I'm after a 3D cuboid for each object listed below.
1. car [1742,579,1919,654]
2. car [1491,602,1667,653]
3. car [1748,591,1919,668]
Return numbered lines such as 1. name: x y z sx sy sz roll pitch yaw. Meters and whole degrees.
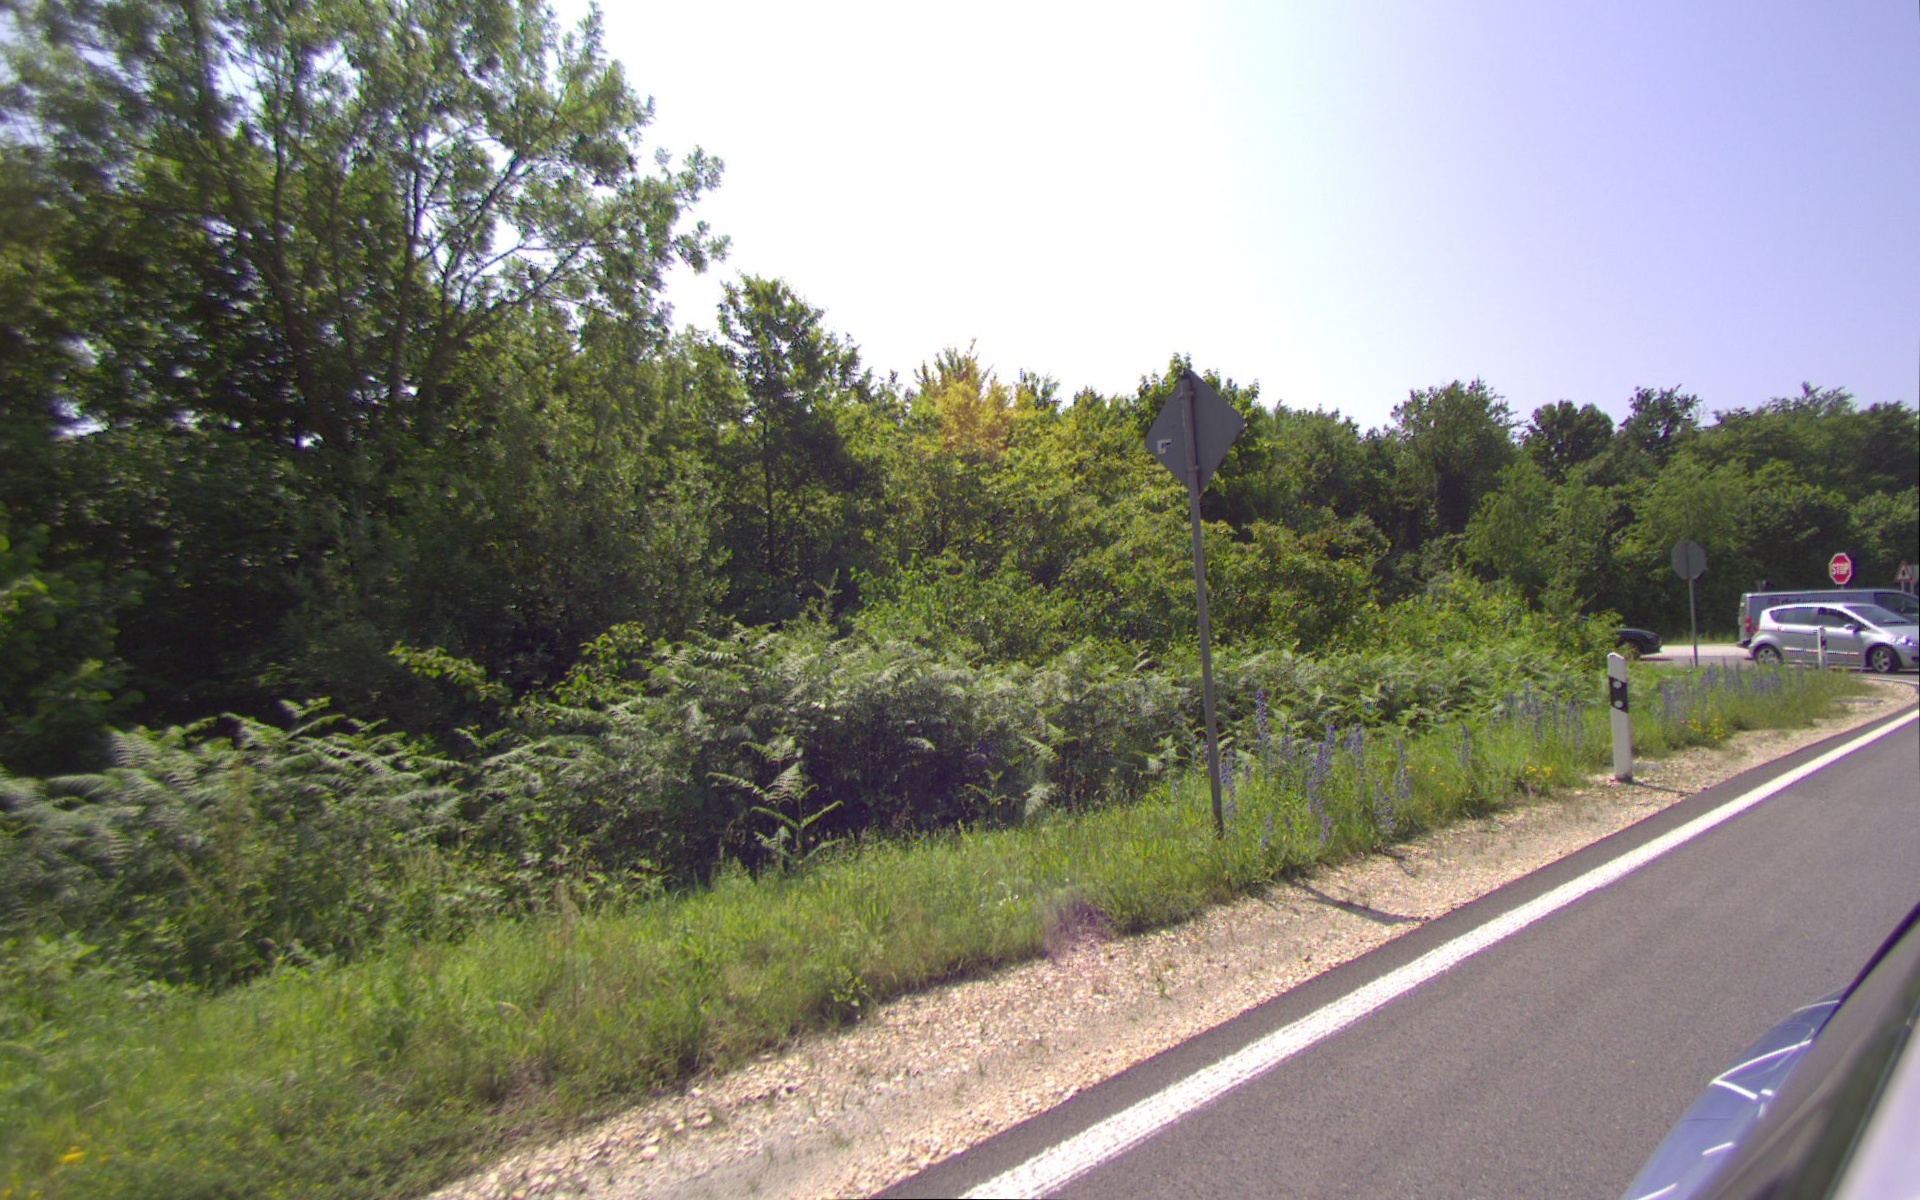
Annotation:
1. car: 24.726 0.415 27.619 5.196 1.930 1.988 0 1 35
2. car: 19.120 0.851 31.491 4.523 1.493 1.849 -1 -1 30
3. car: 20.620 0.642 23.044 1.807 1.600 4.000 1 -1 -11
